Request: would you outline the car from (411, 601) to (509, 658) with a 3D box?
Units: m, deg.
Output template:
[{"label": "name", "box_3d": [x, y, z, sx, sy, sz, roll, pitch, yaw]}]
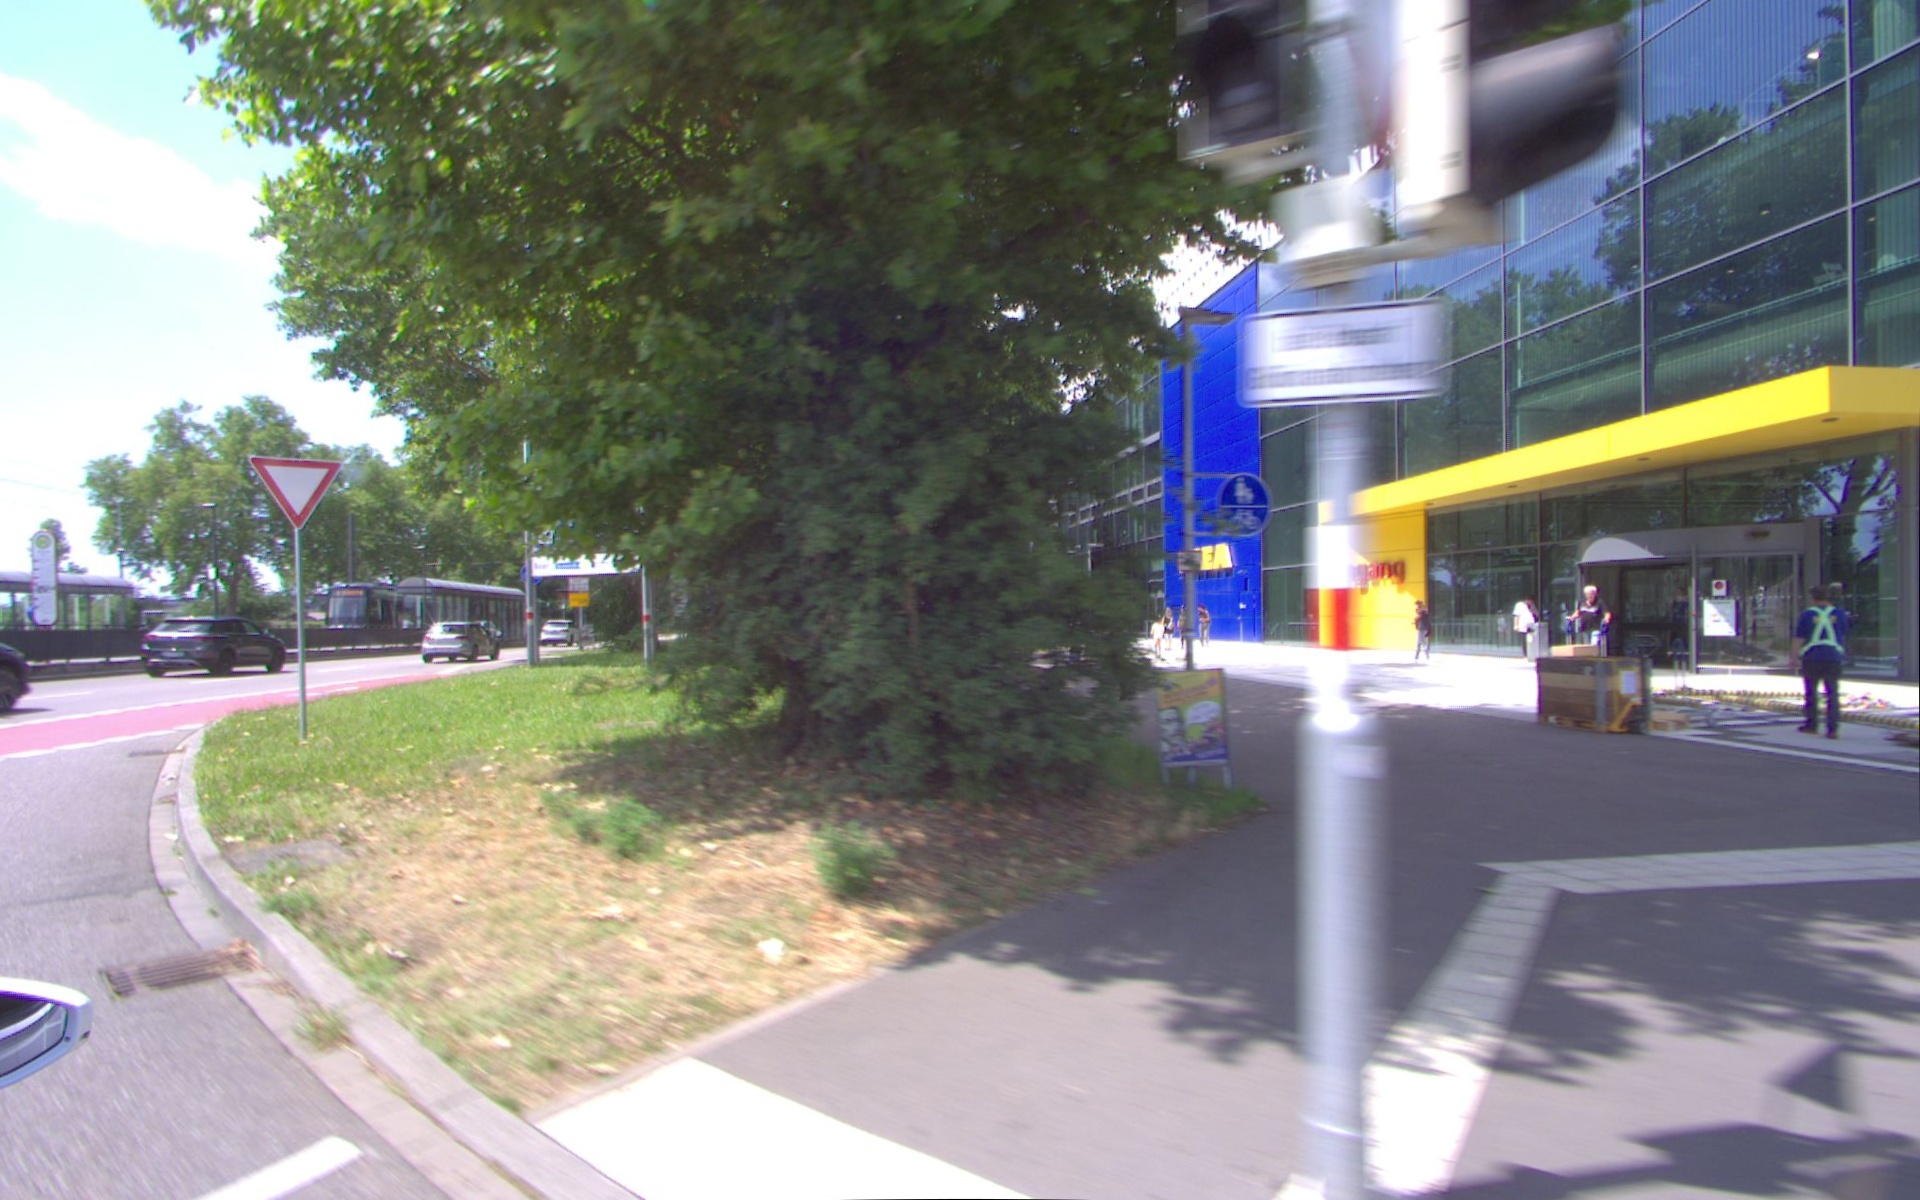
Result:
[{"label": "car", "box_3d": [-18.573, 1.044, 37.408, 1.962, 2.015, 4.361, 0, 0, -8]}]

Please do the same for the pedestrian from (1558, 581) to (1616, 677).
[{"label": "pedestrian", "box_3d": [12.846, 0.585, 20.532, 0.960, 1.911, 0.883, 1, 0, 32]}]

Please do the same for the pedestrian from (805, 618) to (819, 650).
[{"label": "pedestrian", "box_3d": [-8.081, 1.843, 54.608, 0.763, 1.718, 0.891, 0, 0, -8]}]

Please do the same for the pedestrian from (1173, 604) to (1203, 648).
[{"label": "pedestrian", "box_3d": [8.945, 1.015, 39.275, 0.777, 1.685, 0.880, -1, 0, 42]}]

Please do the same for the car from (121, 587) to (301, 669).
[{"label": "car", "box_3d": [-19.920, 0.779, 26.910, 1.962, 2.014, 4.363, 1, -2, -8]}]

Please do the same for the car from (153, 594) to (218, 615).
[{"label": "car", "box_3d": [-64.736, 0.359, 83.765, 3.853, 1.684, 1.909, 0, 0, -7]}]

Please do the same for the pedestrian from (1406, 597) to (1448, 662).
[{"label": "pedestrian", "box_3d": [12.293, 0.766, 26.374, 0.794, 1.686, 0.698, -2, 1, -37]}]

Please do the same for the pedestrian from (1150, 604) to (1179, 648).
[{"label": "pedestrian", "box_3d": [8.092, 1.019, 39.640, 0.776, 1.685, 0.880, 1, 0, 42]}]

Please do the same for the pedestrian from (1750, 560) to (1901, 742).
[{"label": "pedestrian", "box_3d": [10.452, 0.601, 12.145, 0.955, 2.099, 1.010, -1, 0, 7]}]

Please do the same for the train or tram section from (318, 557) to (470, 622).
[{"label": "train or tram section", "box_3d": [-31.616, -0.384, 56.869, 2.990, 3.227, 14.093, 0, -1, -10]}]

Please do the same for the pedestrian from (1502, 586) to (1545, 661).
[{"label": "pedestrian", "box_3d": [14.672, 0.606, 26.088, 0.606, 1.910, 0.782, -3, 0, 2]}]

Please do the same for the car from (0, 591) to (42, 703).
[{"label": "car", "box_3d": [-15.242, 0.697, 13.640, 1.868, 1.696, 4.517, 0, -1, -9]}]

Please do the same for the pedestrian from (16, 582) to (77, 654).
[{"label": "pedestrian", "box_3d": [-22.997, 0.445, 25.225, 0.722, 1.779, 0.929, 0, 0, -8]}]
